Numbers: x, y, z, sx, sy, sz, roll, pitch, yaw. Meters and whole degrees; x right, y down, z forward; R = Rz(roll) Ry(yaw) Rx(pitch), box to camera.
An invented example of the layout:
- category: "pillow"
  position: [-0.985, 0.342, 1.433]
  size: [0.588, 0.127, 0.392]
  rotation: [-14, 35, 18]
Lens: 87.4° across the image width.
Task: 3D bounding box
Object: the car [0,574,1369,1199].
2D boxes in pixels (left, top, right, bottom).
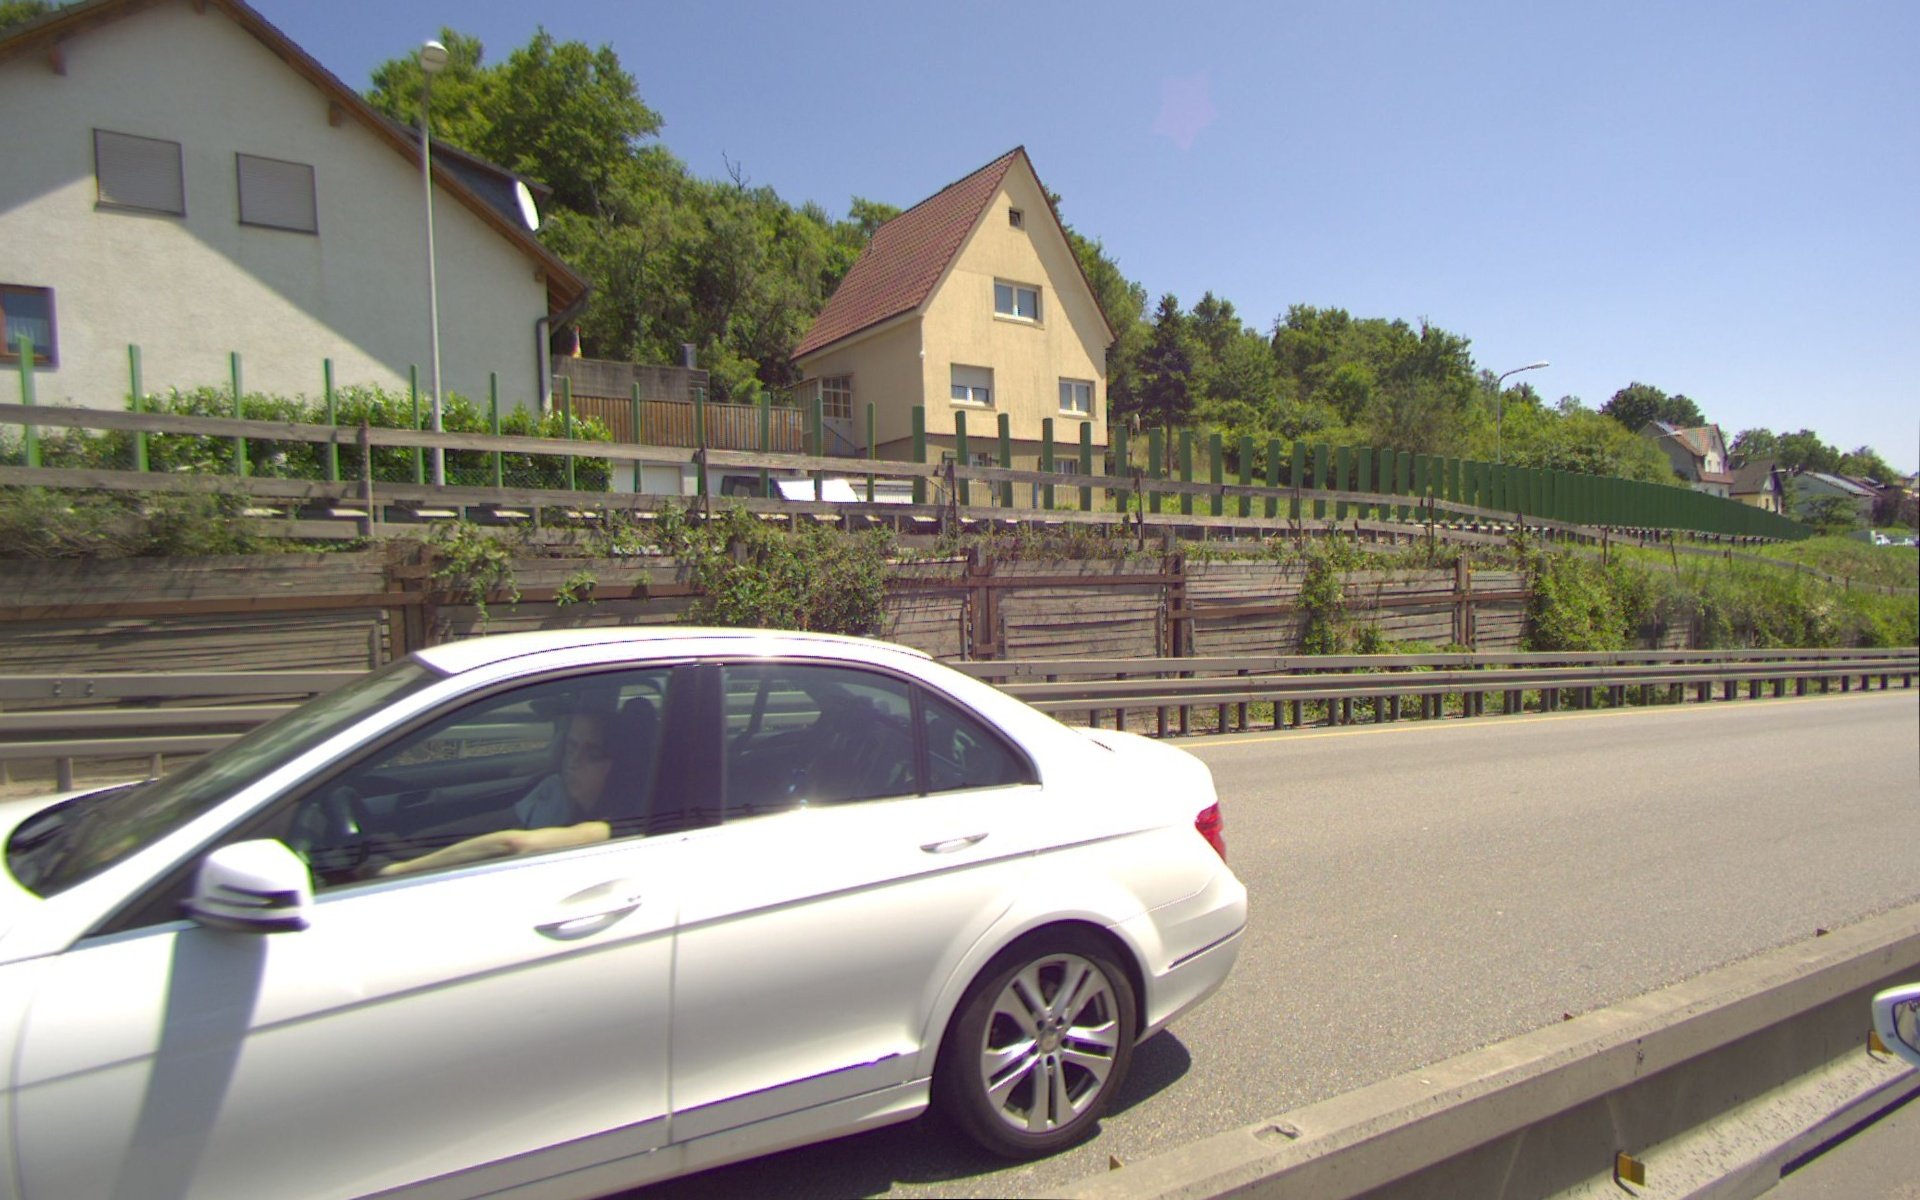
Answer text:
- category: "car"
  position: [-0.933, 0.720, 2.924]
  size: [4.209, 1.457, 1.724]
  rotation: [2, 1, -31]

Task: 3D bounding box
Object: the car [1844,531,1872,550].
- category: "car"
  position: [76.186, -5.041, 85.267]
  size: [1.708, 1.417, 3.781]
  rotation: [3, 1, 42]
